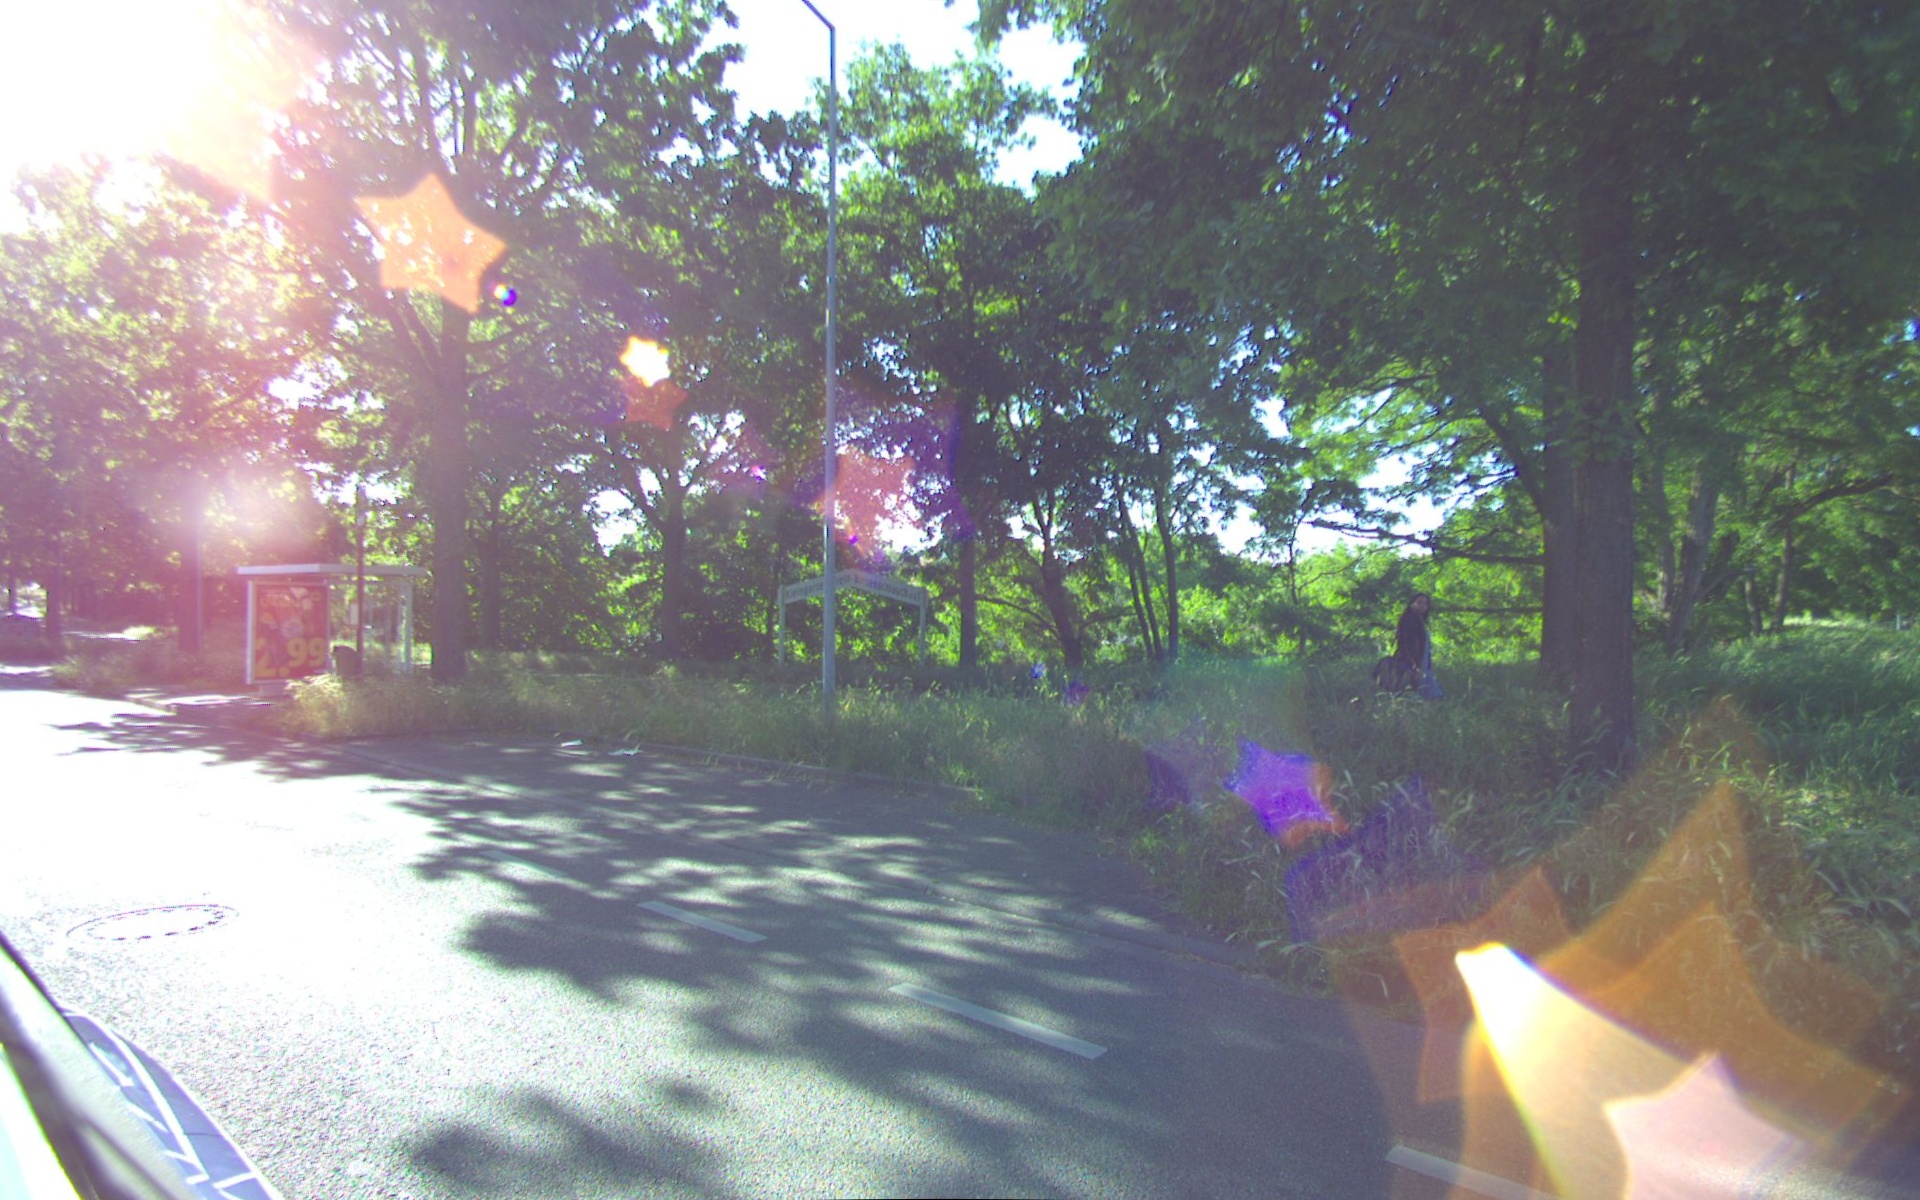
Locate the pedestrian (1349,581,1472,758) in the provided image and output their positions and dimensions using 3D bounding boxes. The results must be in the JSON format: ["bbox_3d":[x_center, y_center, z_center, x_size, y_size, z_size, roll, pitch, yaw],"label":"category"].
[{"bbox_3d":[4.613,0.674,10.356,0.891,1.701,0.903,-2,-1,42],"label":"pedestrian"}]
